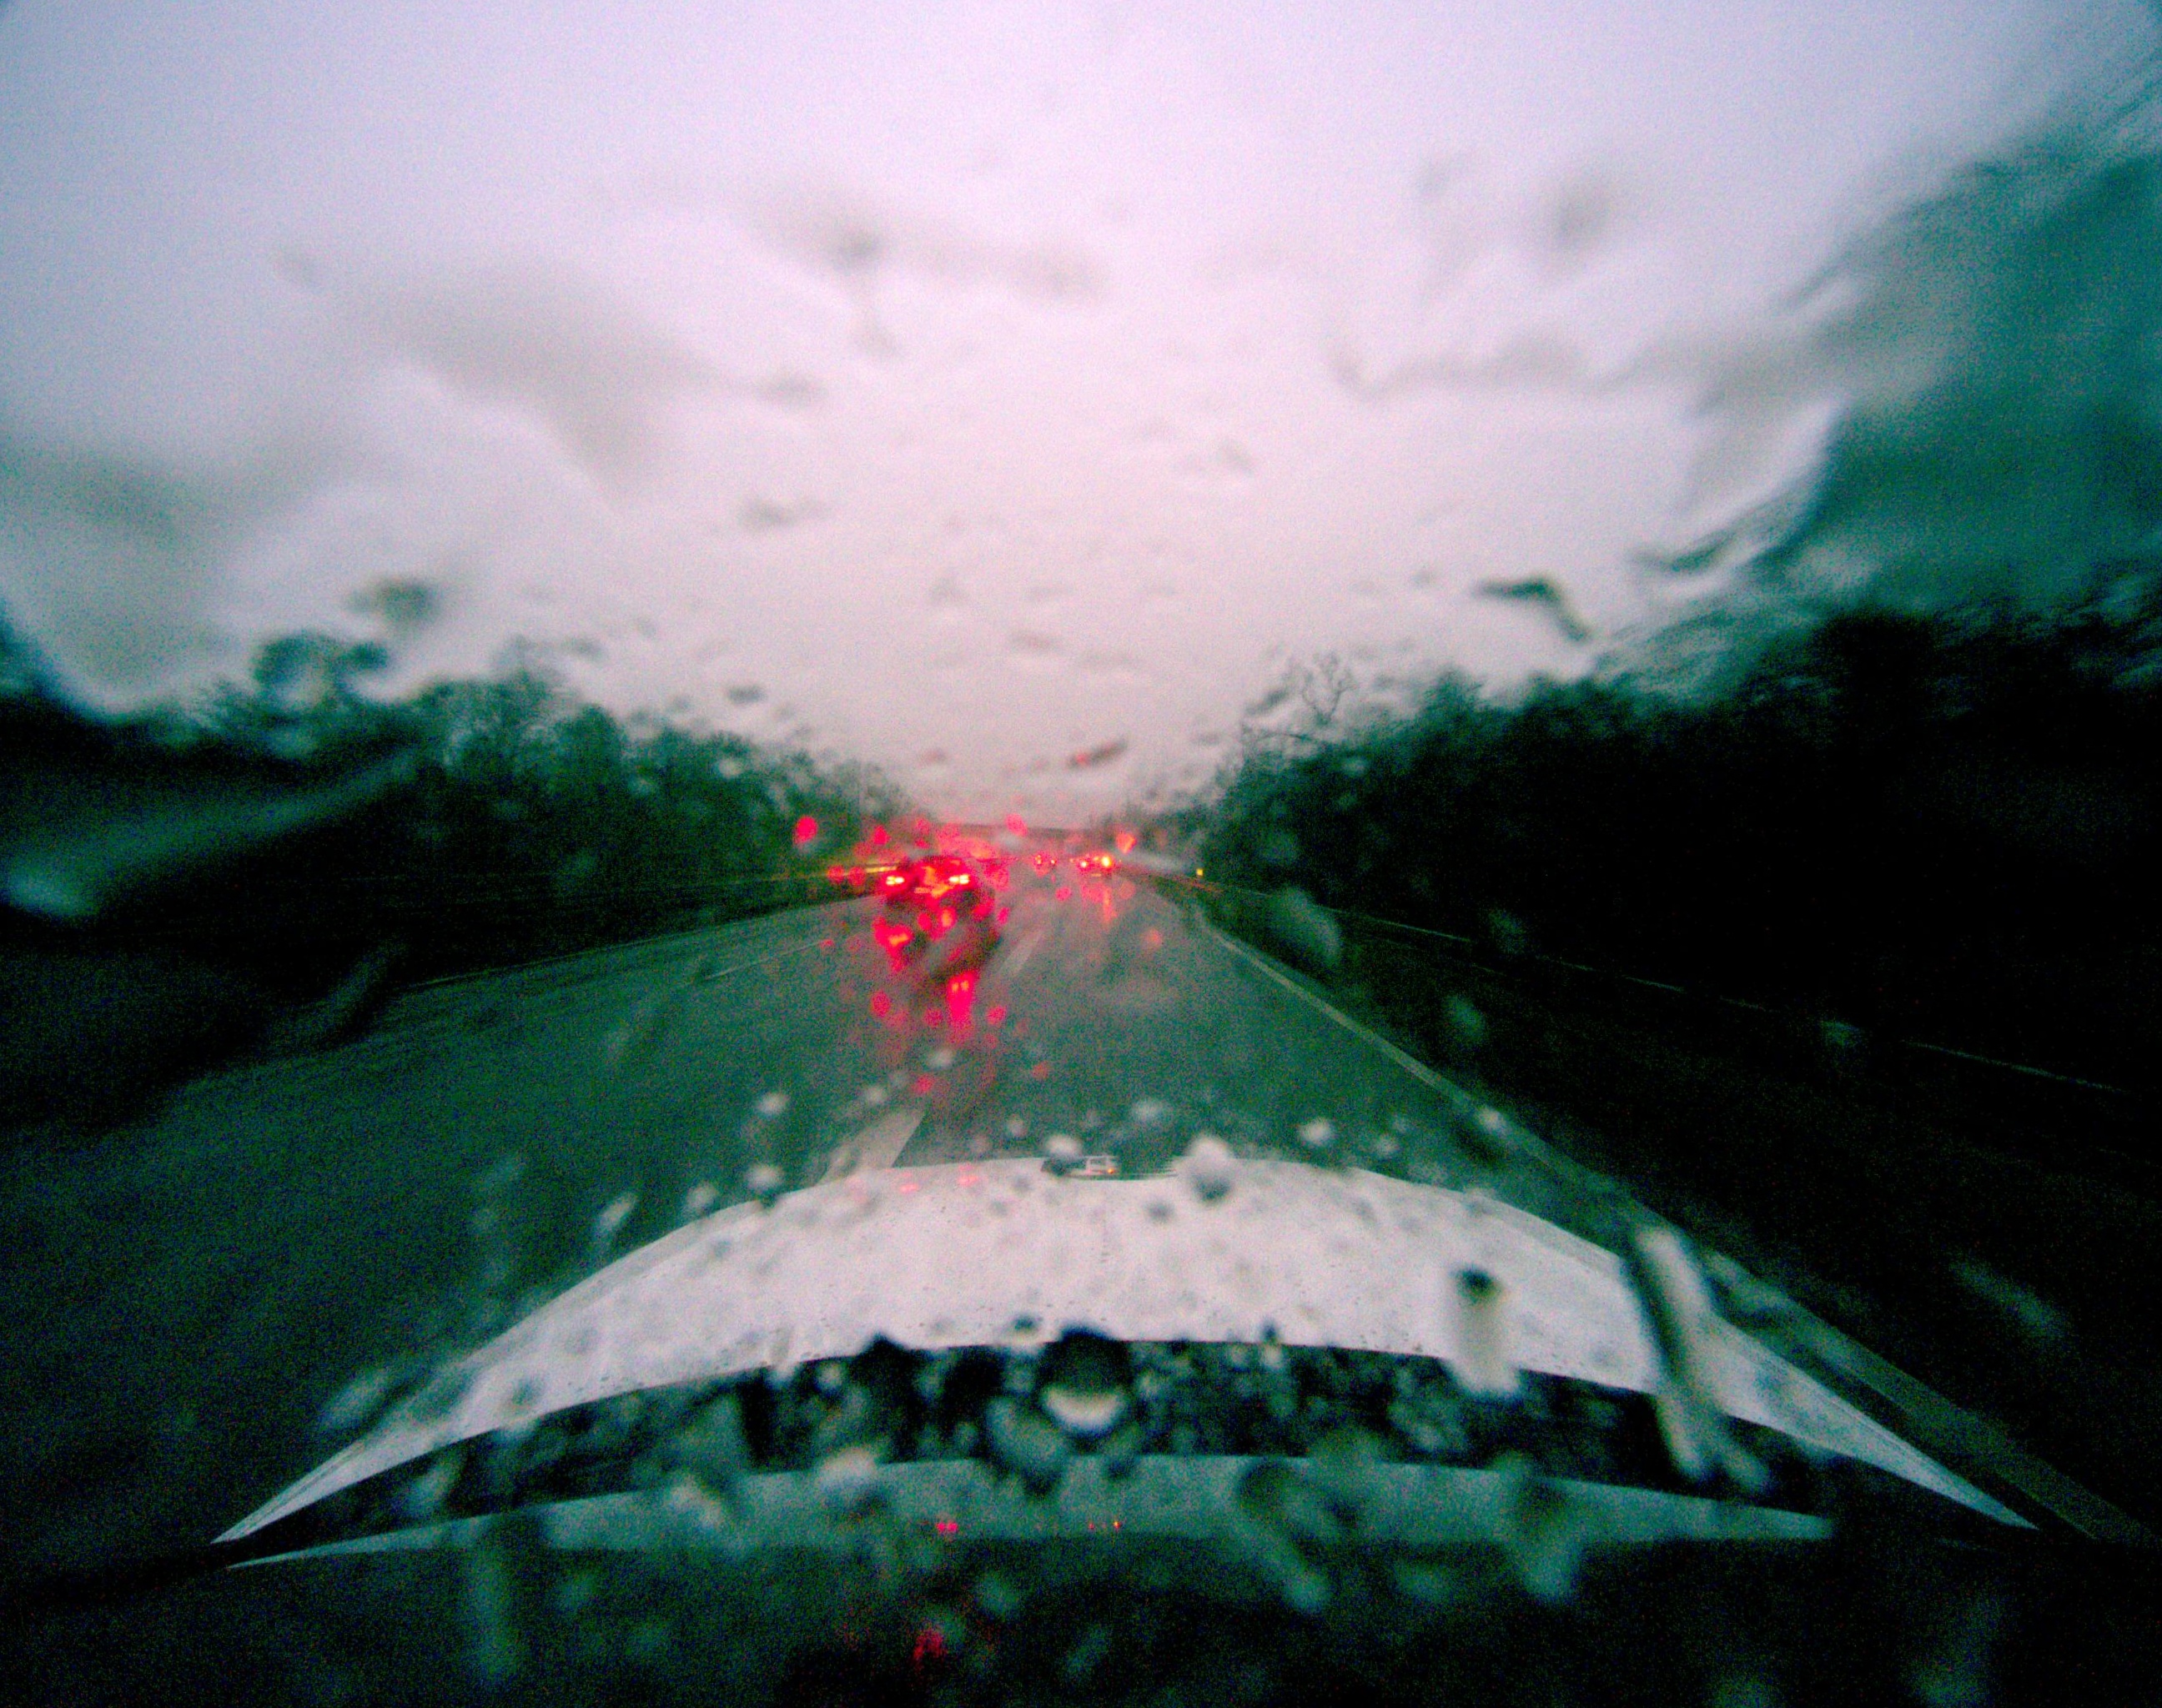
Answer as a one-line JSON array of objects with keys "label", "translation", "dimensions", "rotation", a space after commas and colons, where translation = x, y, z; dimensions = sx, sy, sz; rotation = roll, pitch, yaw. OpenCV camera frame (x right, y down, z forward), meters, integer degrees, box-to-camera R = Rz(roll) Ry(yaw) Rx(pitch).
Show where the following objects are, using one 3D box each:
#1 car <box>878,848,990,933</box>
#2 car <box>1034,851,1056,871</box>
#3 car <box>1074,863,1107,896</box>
[{"label": "car", "translation": [-3.173, 0.729, 18.382], "dimensions": [1.989, 1.665, 3.995], "rotation": [-1, 0, -4]}, {"label": "car", "translation": [-3.261, 0.635, 73.634], "dimensions": [1.874, 1.617, 3.872], "rotation": [1, 1, -2]}, {"label": "car", "translation": [0.563, 1.356, 44.056], "dimensions": [1.725, 1.428, 3.768], "rotation": [0, 4, 2]}]
